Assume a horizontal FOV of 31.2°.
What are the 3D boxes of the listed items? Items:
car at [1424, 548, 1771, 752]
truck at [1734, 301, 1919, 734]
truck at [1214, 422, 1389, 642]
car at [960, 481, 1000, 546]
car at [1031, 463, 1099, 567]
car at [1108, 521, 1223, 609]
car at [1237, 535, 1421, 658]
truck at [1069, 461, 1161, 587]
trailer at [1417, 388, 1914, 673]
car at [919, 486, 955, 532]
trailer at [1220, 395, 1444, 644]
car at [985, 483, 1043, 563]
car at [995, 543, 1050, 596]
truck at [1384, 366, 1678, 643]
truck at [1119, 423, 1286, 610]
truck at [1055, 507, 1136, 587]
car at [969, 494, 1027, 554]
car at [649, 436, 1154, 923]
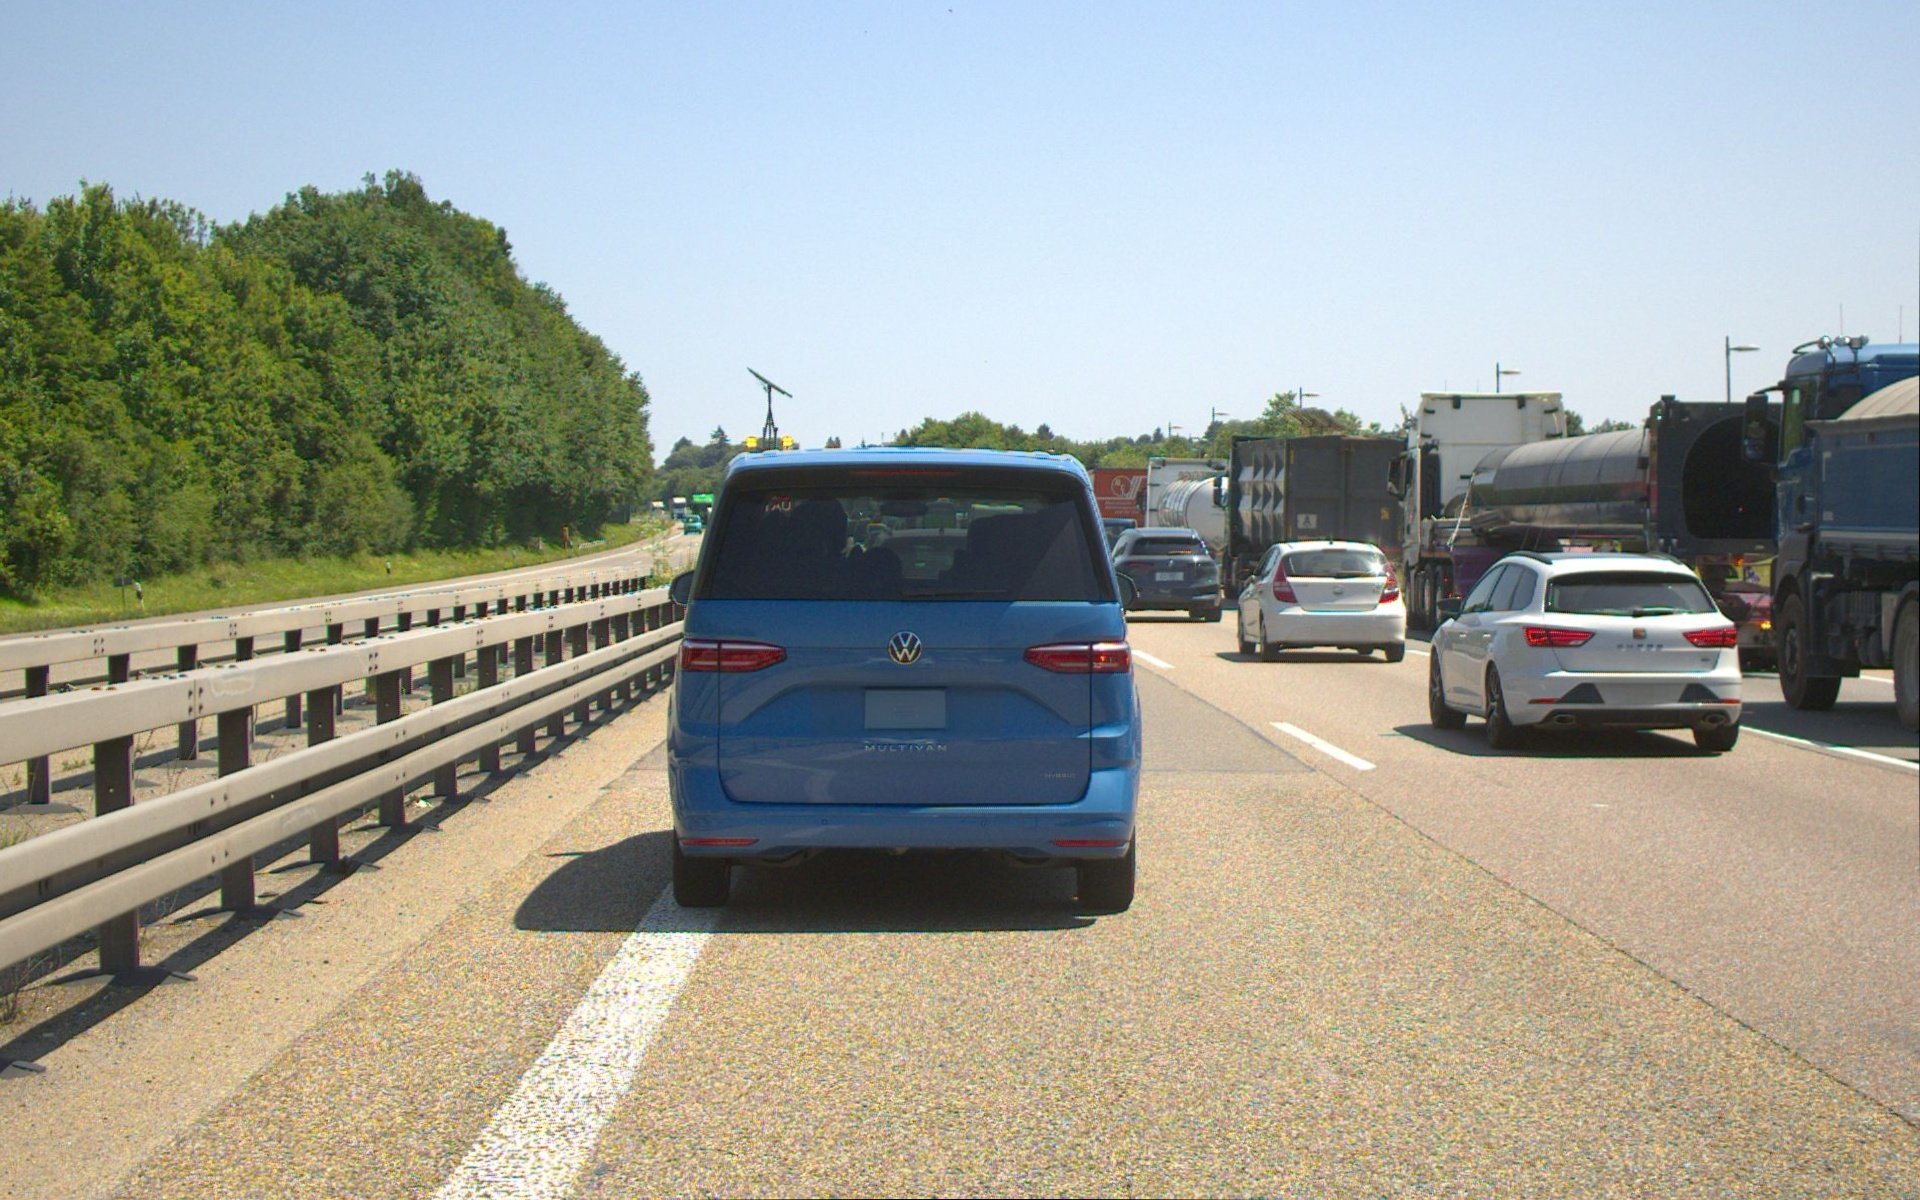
[{"bbox_3d":[4.647,0.315,25.613,1.867,1.356,4.000,1,1,1],"label":"car"},{"bbox_3d":[8.673,-0.663,28.658,2.743,3.300,7.133,1,1,0],"label":"truck"},{"bbox_3d":[8.307,-1.630,84.423,3.658,5.162,5.709,1,0,0],"label":"truck"},{"bbox_3d":[1.472,-6.525,261.864,2.716,4.697,11.561,1,0,-1],"label":"car"},{"bbox_3d":[5.444,-4.356,179.458,3.218,5.239,8.144,1,0,0],"label":"car"},{"bbox_3d":[3.712,-0.630,62.591,1.781,1.519,4.000,1,0,-1],"label":"car"},{"bbox_3d":[4.614,-0.056,43.460,1.840,1.449,4.000,1,0,-1],"label":"car"},{"bbox_3d":[6.245,-3.033,140.283,3.068,4.903,10.691,1,0,-1],"label":"truck"},{"bbox_3d":[8.771,-0.813,45.553,3.646,3.068,15.771,1,0,1],"label":"trailer"},{"bbox_3d":[-1.701,-6.623,251.344,2.485,3.193,7.372,1,0,-1],"label":"car"},{"bbox_3d":[8.226,-1.716,78.003,3.646,5.119,13.076,1,0,0],"label":"trailer"},{"bbox_3d":[3.600,-5.129,231.311,3.218,5.239,8.145,1,0,-4],"label":"car"},{"bbox_3d":[2.431,-1.194,134.794,1.993,2.007,4.000,1,0,-1],"label":"car"},{"bbox_3d":[8.974,-1.442,55.010,3.626,4.080,7.524,1,0,2],"label":"truck"},{"bbox_3d":[7.171,-2.392,104.500,3.621,5.195,15.690,1,0,-1],"label":"truck"},{"bbox_3d":[3.272,-1.268,83.388,1.725,1.851,4.000,1,0,-1],"label":"truck"},{"bbox_3d":[1.762,-3.528,161.428,2.550,2.708,5.621,1,0,-1],"label":"car"},{"bbox_3d":[-0.196,0.290,15.117,1.901,1.831,4.000,1,0,1],"label":"car"}]
